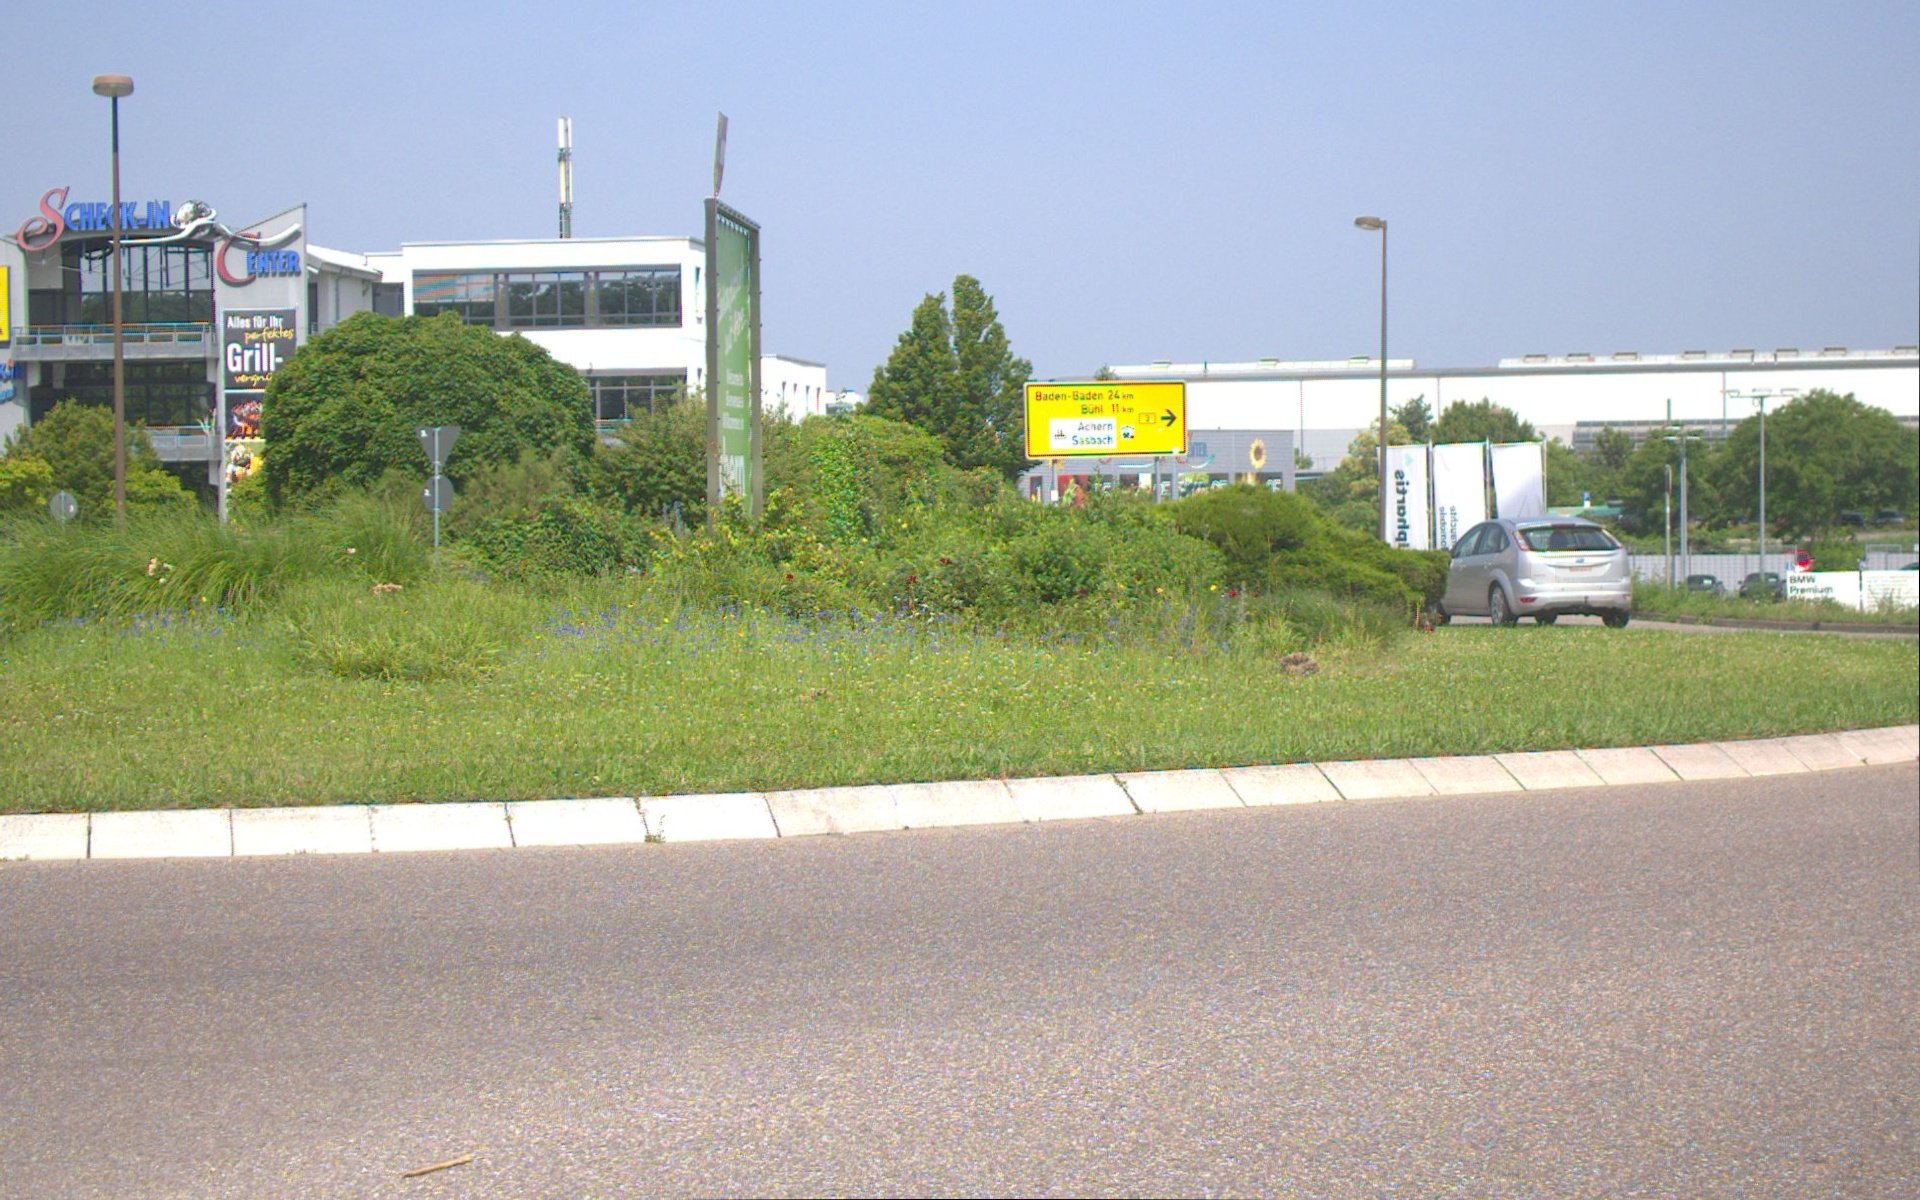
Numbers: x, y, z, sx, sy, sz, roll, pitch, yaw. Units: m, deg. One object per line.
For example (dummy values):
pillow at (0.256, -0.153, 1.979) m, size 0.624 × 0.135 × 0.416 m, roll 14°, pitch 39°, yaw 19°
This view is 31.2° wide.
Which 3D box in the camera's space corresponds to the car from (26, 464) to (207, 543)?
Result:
car at (-17.534, -1.998, 71.489) m, size 3.315 × 1.568 × 1.555 m, roll 0°, pitch 0°, yaw 16°

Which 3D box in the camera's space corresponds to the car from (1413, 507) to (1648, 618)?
car at (7.556, -0.503, 45.921) m, size 1.778 × 1.402 × 4.087 m, roll 1°, pitch 1°, yaw -11°
